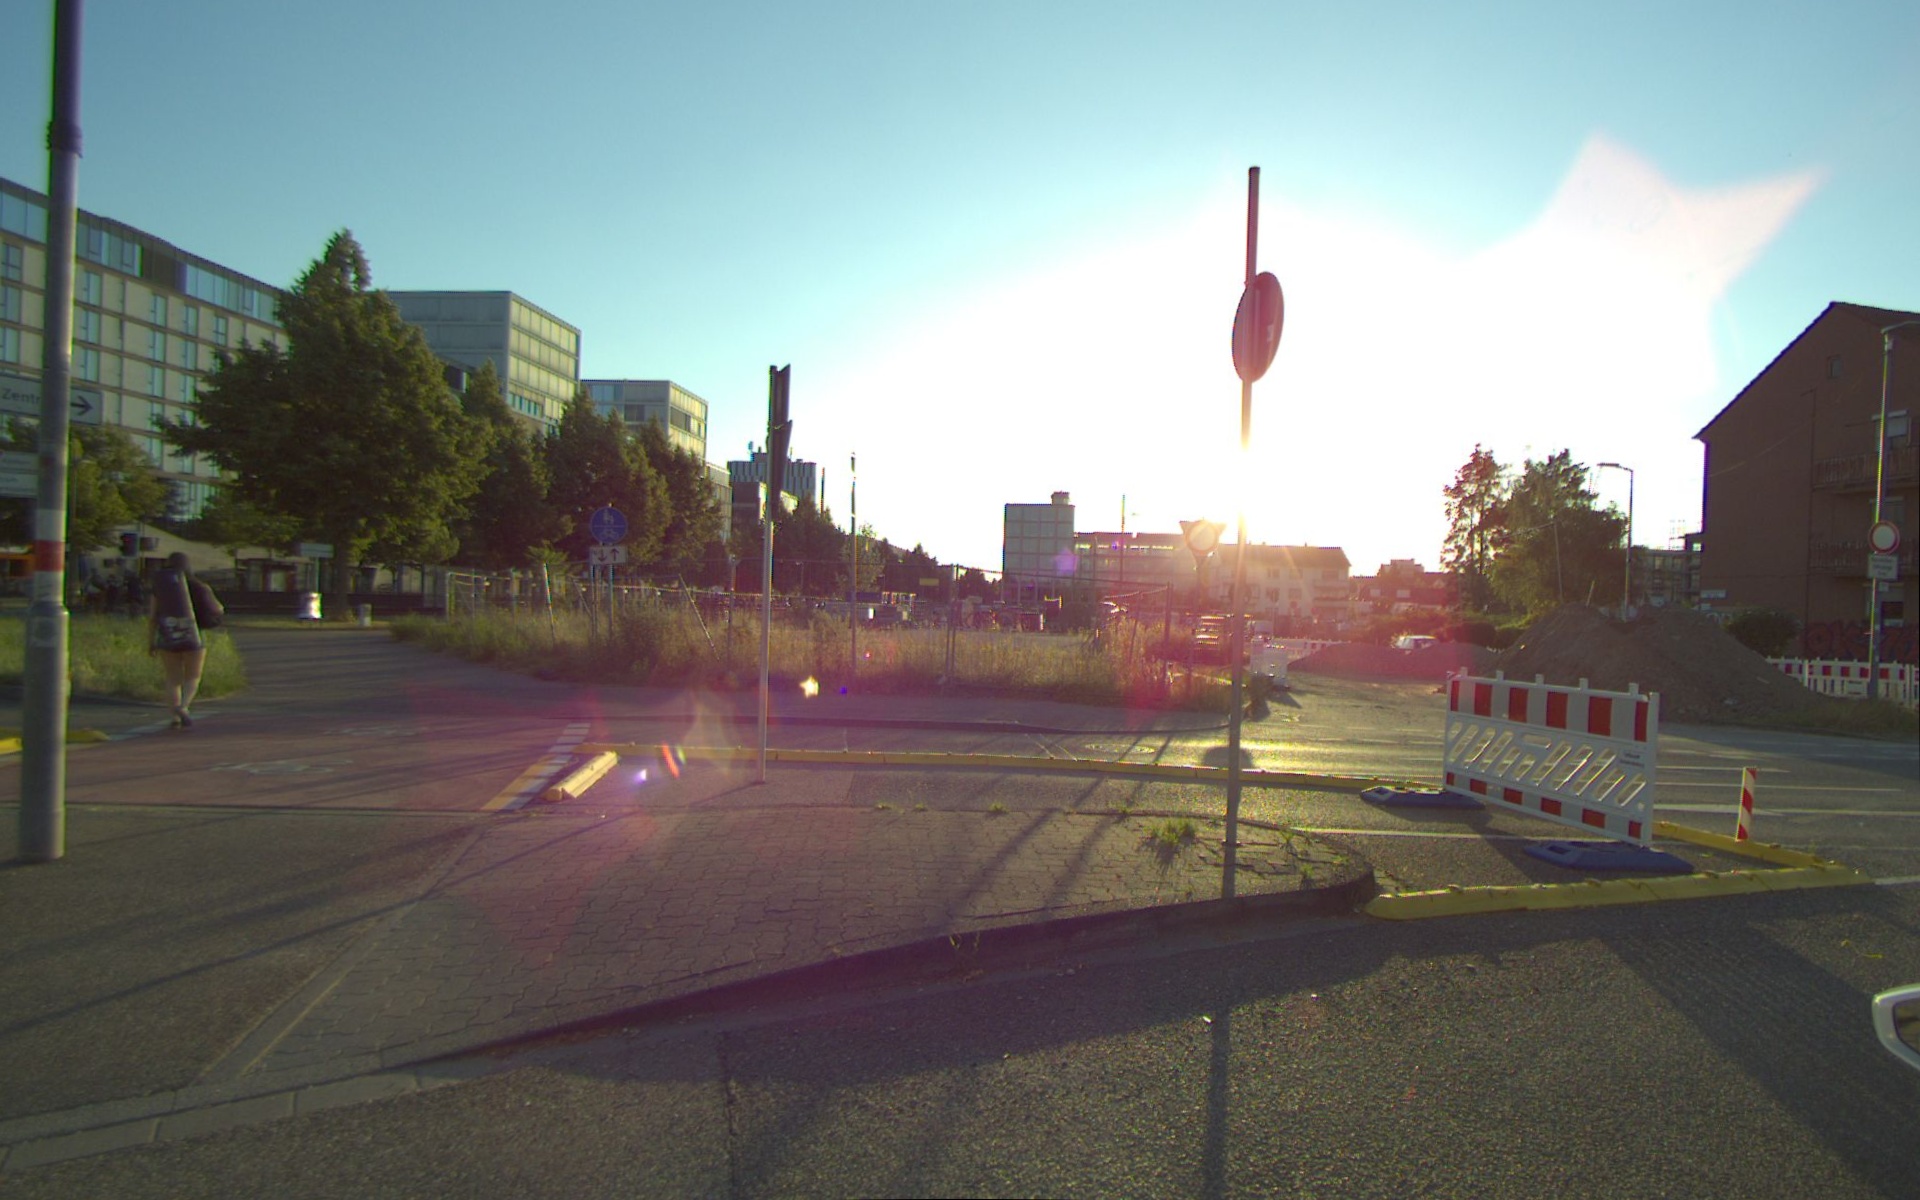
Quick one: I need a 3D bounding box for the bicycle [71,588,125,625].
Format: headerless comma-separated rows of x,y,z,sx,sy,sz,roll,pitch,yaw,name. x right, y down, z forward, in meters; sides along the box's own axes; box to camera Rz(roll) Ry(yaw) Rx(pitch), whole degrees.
-29.636,0.212,34.526,2.369,1.182,0.752,2,-1,34,bicycle

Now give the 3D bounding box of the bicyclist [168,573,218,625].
-25.130,-0.035,32.928,0.958,1.634,0.755,3,-1,3,bicyclist

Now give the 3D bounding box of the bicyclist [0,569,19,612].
-34.641,-0.365,36.025,0.960,1.545,0.754,3,-1,-5,bicyclist

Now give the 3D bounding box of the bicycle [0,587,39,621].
-34.658,0.108,36.042,2.364,1.182,0.754,3,-1,-5,bicycle

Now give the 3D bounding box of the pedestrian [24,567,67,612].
-35.649,-0.401,39.155,0.871,1.730,0.795,3,-1,1,pedestrian

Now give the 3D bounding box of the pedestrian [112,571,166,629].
-27.228,-0.009,33.322,1.141,1.851,0.978,2,-1,30,pedestrian

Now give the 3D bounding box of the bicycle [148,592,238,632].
-25.150,0.387,32.948,2.361,1.182,0.755,3,-1,3,bicycle

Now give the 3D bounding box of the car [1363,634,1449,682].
18.203,2.319,41.196,1.960,1.728,4.002,3,-1,5,car

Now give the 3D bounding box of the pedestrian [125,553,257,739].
-7.533,0.425,9.843,0.874,1.708,0.841,2,-1,43,pedestrian

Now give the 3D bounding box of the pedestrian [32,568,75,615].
-33.991,-0.313,37.671,0.870,1.730,0.795,2,-1,14,pedestrian

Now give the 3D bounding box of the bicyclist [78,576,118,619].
-29.615,-0.096,34.511,0.962,1.412,0.752,2,-1,34,bicyclist
